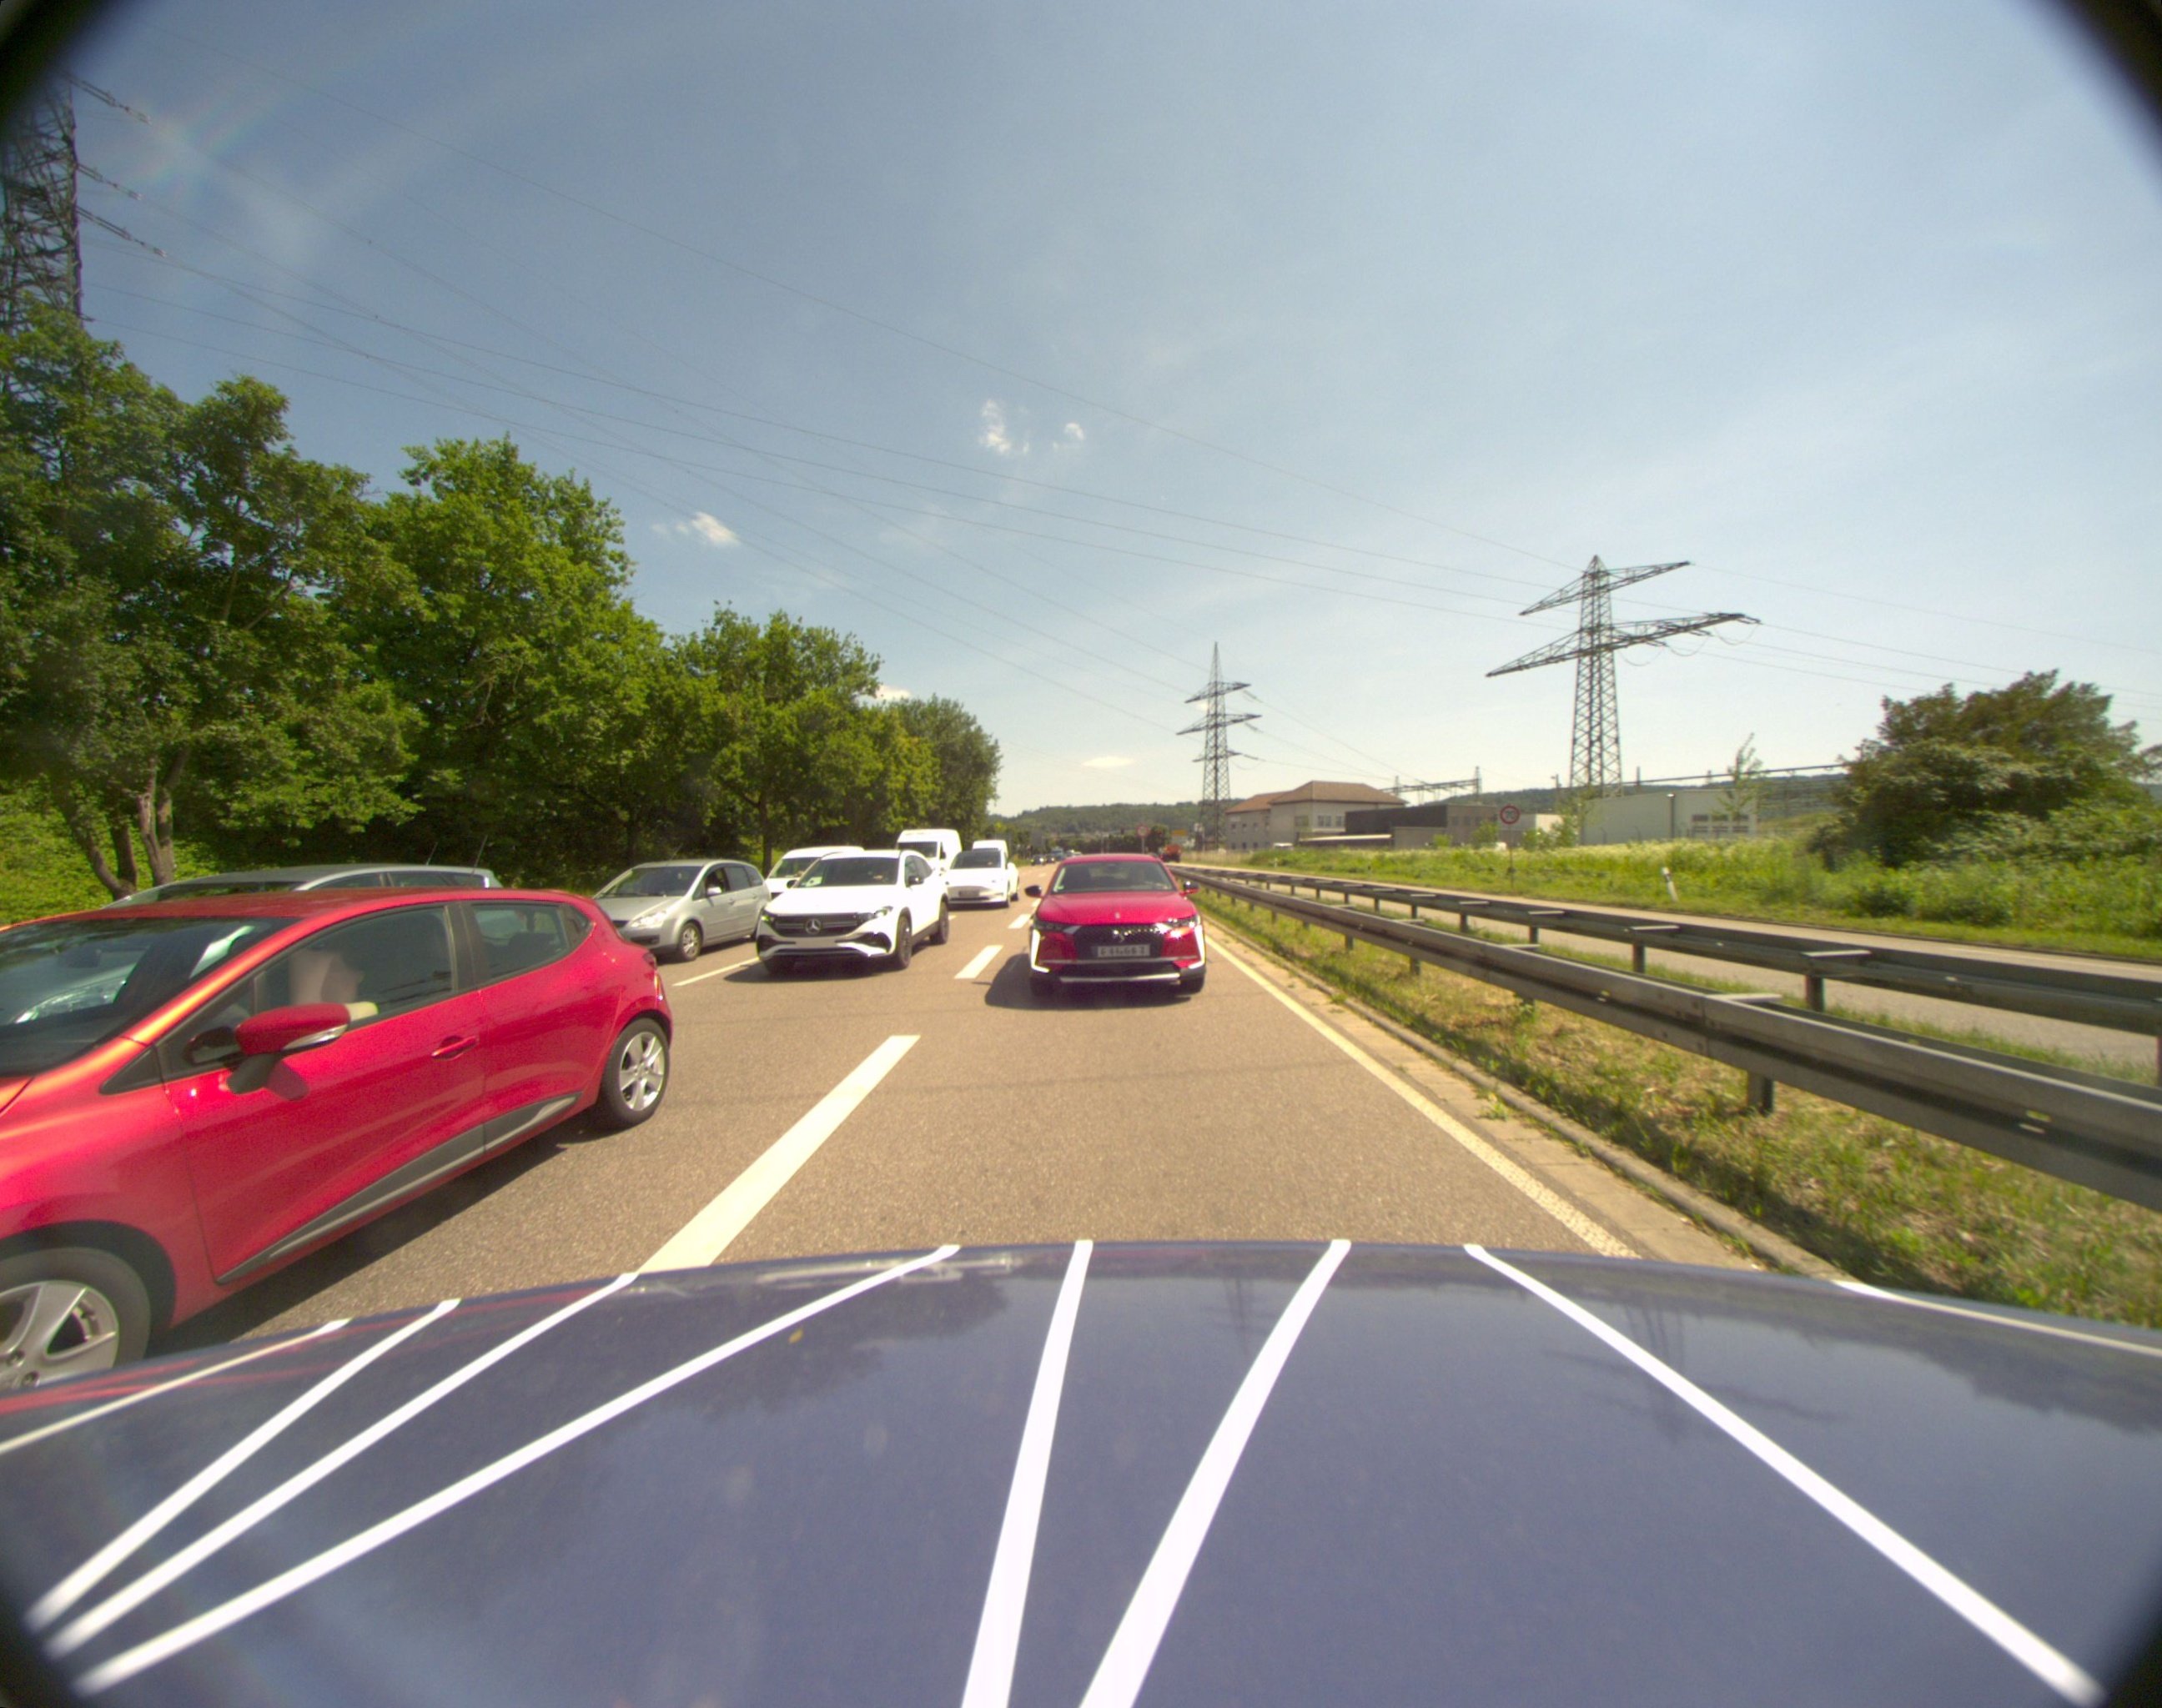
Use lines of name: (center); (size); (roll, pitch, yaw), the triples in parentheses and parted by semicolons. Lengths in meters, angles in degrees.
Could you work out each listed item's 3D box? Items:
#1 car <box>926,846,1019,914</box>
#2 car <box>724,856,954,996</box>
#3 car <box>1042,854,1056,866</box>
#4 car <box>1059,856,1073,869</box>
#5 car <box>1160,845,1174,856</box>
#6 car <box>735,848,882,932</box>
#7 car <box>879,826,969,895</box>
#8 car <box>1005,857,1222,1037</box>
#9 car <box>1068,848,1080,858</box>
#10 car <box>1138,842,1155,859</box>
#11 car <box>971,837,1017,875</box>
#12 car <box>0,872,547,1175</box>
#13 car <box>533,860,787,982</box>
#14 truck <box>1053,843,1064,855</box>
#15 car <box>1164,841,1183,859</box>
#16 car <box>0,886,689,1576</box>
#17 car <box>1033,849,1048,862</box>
car: (-2.964, 0.642, 21.567); (2.022, 1.672, 3.999); (-2, 1, 0)
car: (-3.245, 0.868, 11.219); (1.850, 1.559, 4.363); (-2, 1, 1)
car: (-5.166, 0.929, 124.222); (1.998, 1.808, 3.999); (-2, 1, 1)
car: (-2.115, 1.158, 106.727); (1.878, 1.674, 3.998); (-2, 1, -1)
car: (15.778, -0.703, 139.606); (1.999, 1.904, 3.998); (-2, 1, -3)
car: (-6.694, 0.774, 19.364); (1.809, 1.790, 5.037); (-2, 1, 1)
car: (-6.552, 0.220, 32.753); (2.232, 2.592, 7.018); (-2, 1, 1)
car: (0.340, 0.826, 8.847); (1.846, 1.453, 4.414); (-2, 1, 1)
car: (-1.175, -0.176, 130.919); (1.998, 1.752, 4.000); (0, 1, 2)
car: (11.471, -0.651, 134.109); (2.607, 3.043, 5.638); (0, 1, 0)
car: (-6.067, 0.094, 53.600); (2.308, 2.408, 5.814); (-2, 1, 2)
car: (-6.912, 1.027, 6.398); (1.769, 1.586, 4.165); (-1, 1, 1)
car: (-6.713, 0.957, 12.765); (1.747, 1.585, 4.272); (-2, 1, 1)
truck: (-4.614, -1.016, 156.676); (2.170, 2.428, 4.909); (-2, 1, -1)
car: (15.865, -0.655, 129.996); (2.607, 3.043, 5.638); (0, 1, 0)
car: (-3.412, 0.979, 2.803); (1.747, 1.453, 4.064); (-2, 1, 0)
car: (-5.650, 0.183, 105.892); (1.878, 1.674, 3.998); (-2, 1, -1)
